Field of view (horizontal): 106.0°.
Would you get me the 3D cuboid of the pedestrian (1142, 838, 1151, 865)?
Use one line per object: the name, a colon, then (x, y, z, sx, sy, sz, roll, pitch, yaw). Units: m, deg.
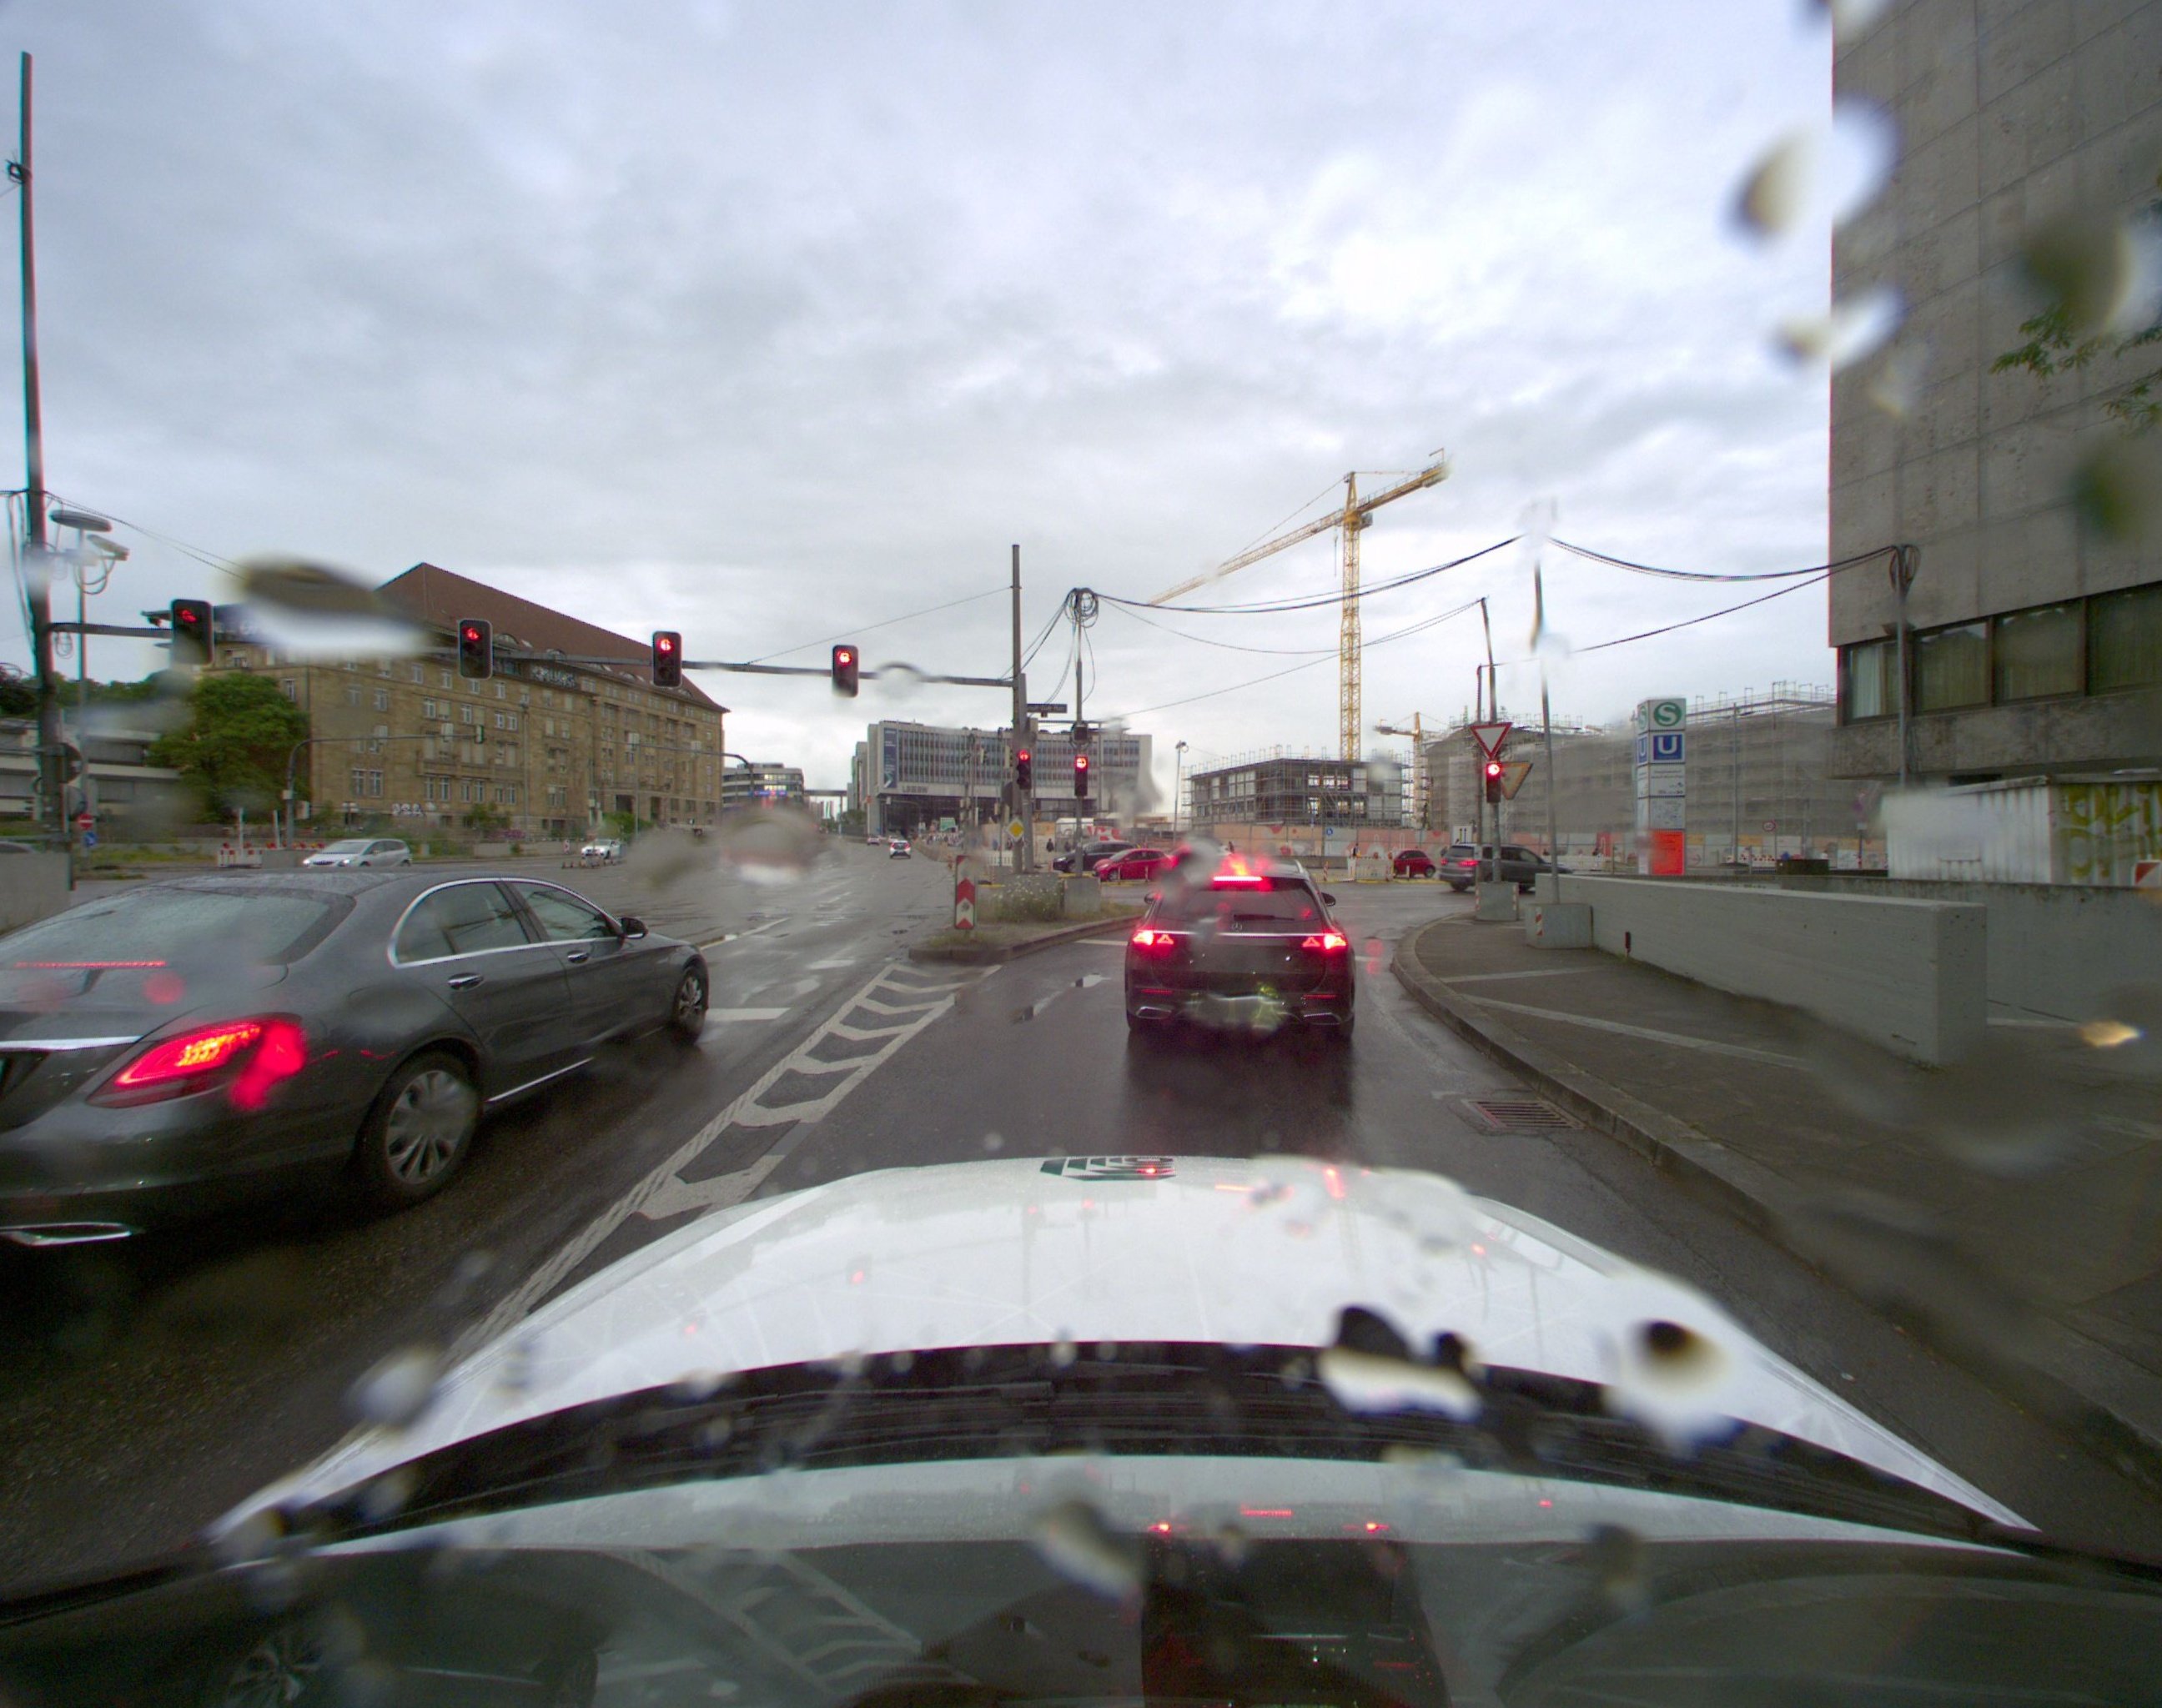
pedestrian: (4.769, -0.174, 59.306, 0.572, 1.898, 0.362, 1, -1, 4)

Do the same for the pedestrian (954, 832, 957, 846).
pedestrian: (-17.523, -2.047, 113.913, 0.362, 1.898, 0.573, 1, -1, -16)

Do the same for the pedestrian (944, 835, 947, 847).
pedestrian: (-21.288, -2.027, 128.300, 0.362, 1.898, 0.573, 1, -1, -16)

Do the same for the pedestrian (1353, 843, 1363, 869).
pedestrian: (20.425, 0.141, 60.100, 0.574, 1.898, 0.361, 1, -1, -10)

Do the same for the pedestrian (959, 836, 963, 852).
pedestrian: (-14.560, -1.215, 98.788, 0.362, 1.898, 0.573, 1, -1, -16)

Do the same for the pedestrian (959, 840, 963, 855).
pedestrian: (-14.842, -0.796, 100.659, 0.362, 1.898, 0.573, 1, -1, -16)

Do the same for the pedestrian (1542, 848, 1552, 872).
pedestrian: (37.724, 0.467, 65.906, 0.575, 1.898, 0.360, 1, -1, -14)

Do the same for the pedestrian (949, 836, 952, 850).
pedestrian: (-18.270, -1.536, 114.105, 0.361, 1.898, 0.574, 1, -1, -12)

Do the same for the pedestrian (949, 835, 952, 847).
pedestrian: (-20.567, -2.068, 128.500, 0.362, 1.898, 0.573, 1, -1, -16)

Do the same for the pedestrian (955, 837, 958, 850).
pedestrian: (-18.781, -1.555, 122.756, 0.362, 1.898, 0.573, 1, -1, -16)

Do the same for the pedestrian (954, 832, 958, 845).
pedestrian: (-19.848, -2.464, 128.944, 0.520, 1.898, 0.573, 1, -1, -16)

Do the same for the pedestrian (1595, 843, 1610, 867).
pedestrian: (41.464, 0.106, 64.752, 0.798, 1.898, 0.563, 1, -1, -13)

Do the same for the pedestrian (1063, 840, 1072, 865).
pedestrian: (-1.050, -0.120, 61.728, 0.570, 1.898, 0.364, 0, -1, 15)

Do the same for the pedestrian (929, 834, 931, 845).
pedestrian: (-26.002, -2.544, 140.375, 0.362, 1.898, 0.573, 1, -1, -16)

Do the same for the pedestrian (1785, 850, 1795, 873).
pedestrian: (60.664, 0.639, 69.647, 0.574, 1.898, 0.361, 1, -1, -10)

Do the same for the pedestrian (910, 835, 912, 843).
pedestrian: (-38.052, -3.374, 182.532, 0.361, 1.898, 0.574, 1, -1, -13)

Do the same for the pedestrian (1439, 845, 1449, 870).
pedestrian: (27.896, 0.286, 62.580, 0.574, 1.898, 0.361, 1, -1, -10)

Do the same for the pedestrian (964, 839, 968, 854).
pedestrian: (-13.932, -0.897, 98.814, 0.362, 1.898, 0.573, 1, -1, -16)

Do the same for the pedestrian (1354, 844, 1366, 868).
pedestrian: (21.519, 0.156, 62.758, 0.656, 1.901, 0.629, 1, -1, -12)

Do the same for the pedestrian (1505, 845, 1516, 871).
pedestrian: (32.025, 0.306, 60.727, 0.574, 1.898, 0.361, 1, -1, -10)

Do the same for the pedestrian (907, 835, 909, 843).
pedestrian: (-38.643, -3.385, 182.303, 0.361, 1.898, 0.574, 1, -1, -13)

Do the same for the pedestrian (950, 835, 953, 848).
pedestrian: (-18.658, -1.790, 117.070, 0.362, 1.898, 0.573, 1, -1, -16)

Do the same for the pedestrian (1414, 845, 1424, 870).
pedestrian: (25.633, 0.244, 61.804, 0.574, 1.898, 0.361, 1, -1, -10)

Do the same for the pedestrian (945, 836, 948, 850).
pedestrian: (-18.727, -1.555, 113.223, 0.362, 1.898, 0.573, 1, -1, -16)

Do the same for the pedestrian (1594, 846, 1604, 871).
pedestrian: (40.125, 0.347, 63.106, 0.574, 1.898, 0.361, 1, -1, -10)

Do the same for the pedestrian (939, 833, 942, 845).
pedestrian: (-23.835, -2.539, 138.424, 0.362, 1.898, 0.573, 1, -1, -16)

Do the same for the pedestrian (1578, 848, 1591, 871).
pedestrian: (41.359, 0.449, 66.895, 0.631, 1.898, 0.587, 1, -1, -14)

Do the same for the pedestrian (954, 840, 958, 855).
pedestrian: (-15.447, -0.780, 100.417, 0.362, 1.898, 0.573, 1, -1, -16)

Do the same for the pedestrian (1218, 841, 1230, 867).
pedestrian: (10.613, -0.012, 60.398, 0.656, 1.901, 0.629, 1, -1, -12)

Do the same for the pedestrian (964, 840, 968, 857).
pedestrian: (-13.031, -0.665, 92.516, 0.362, 1.898, 0.573, 1, -1, -16)

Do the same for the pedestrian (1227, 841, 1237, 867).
pedestrian: (11.060, 0.021, 59.685, 0.574, 1.898, 0.361, 1, -1, -10)
